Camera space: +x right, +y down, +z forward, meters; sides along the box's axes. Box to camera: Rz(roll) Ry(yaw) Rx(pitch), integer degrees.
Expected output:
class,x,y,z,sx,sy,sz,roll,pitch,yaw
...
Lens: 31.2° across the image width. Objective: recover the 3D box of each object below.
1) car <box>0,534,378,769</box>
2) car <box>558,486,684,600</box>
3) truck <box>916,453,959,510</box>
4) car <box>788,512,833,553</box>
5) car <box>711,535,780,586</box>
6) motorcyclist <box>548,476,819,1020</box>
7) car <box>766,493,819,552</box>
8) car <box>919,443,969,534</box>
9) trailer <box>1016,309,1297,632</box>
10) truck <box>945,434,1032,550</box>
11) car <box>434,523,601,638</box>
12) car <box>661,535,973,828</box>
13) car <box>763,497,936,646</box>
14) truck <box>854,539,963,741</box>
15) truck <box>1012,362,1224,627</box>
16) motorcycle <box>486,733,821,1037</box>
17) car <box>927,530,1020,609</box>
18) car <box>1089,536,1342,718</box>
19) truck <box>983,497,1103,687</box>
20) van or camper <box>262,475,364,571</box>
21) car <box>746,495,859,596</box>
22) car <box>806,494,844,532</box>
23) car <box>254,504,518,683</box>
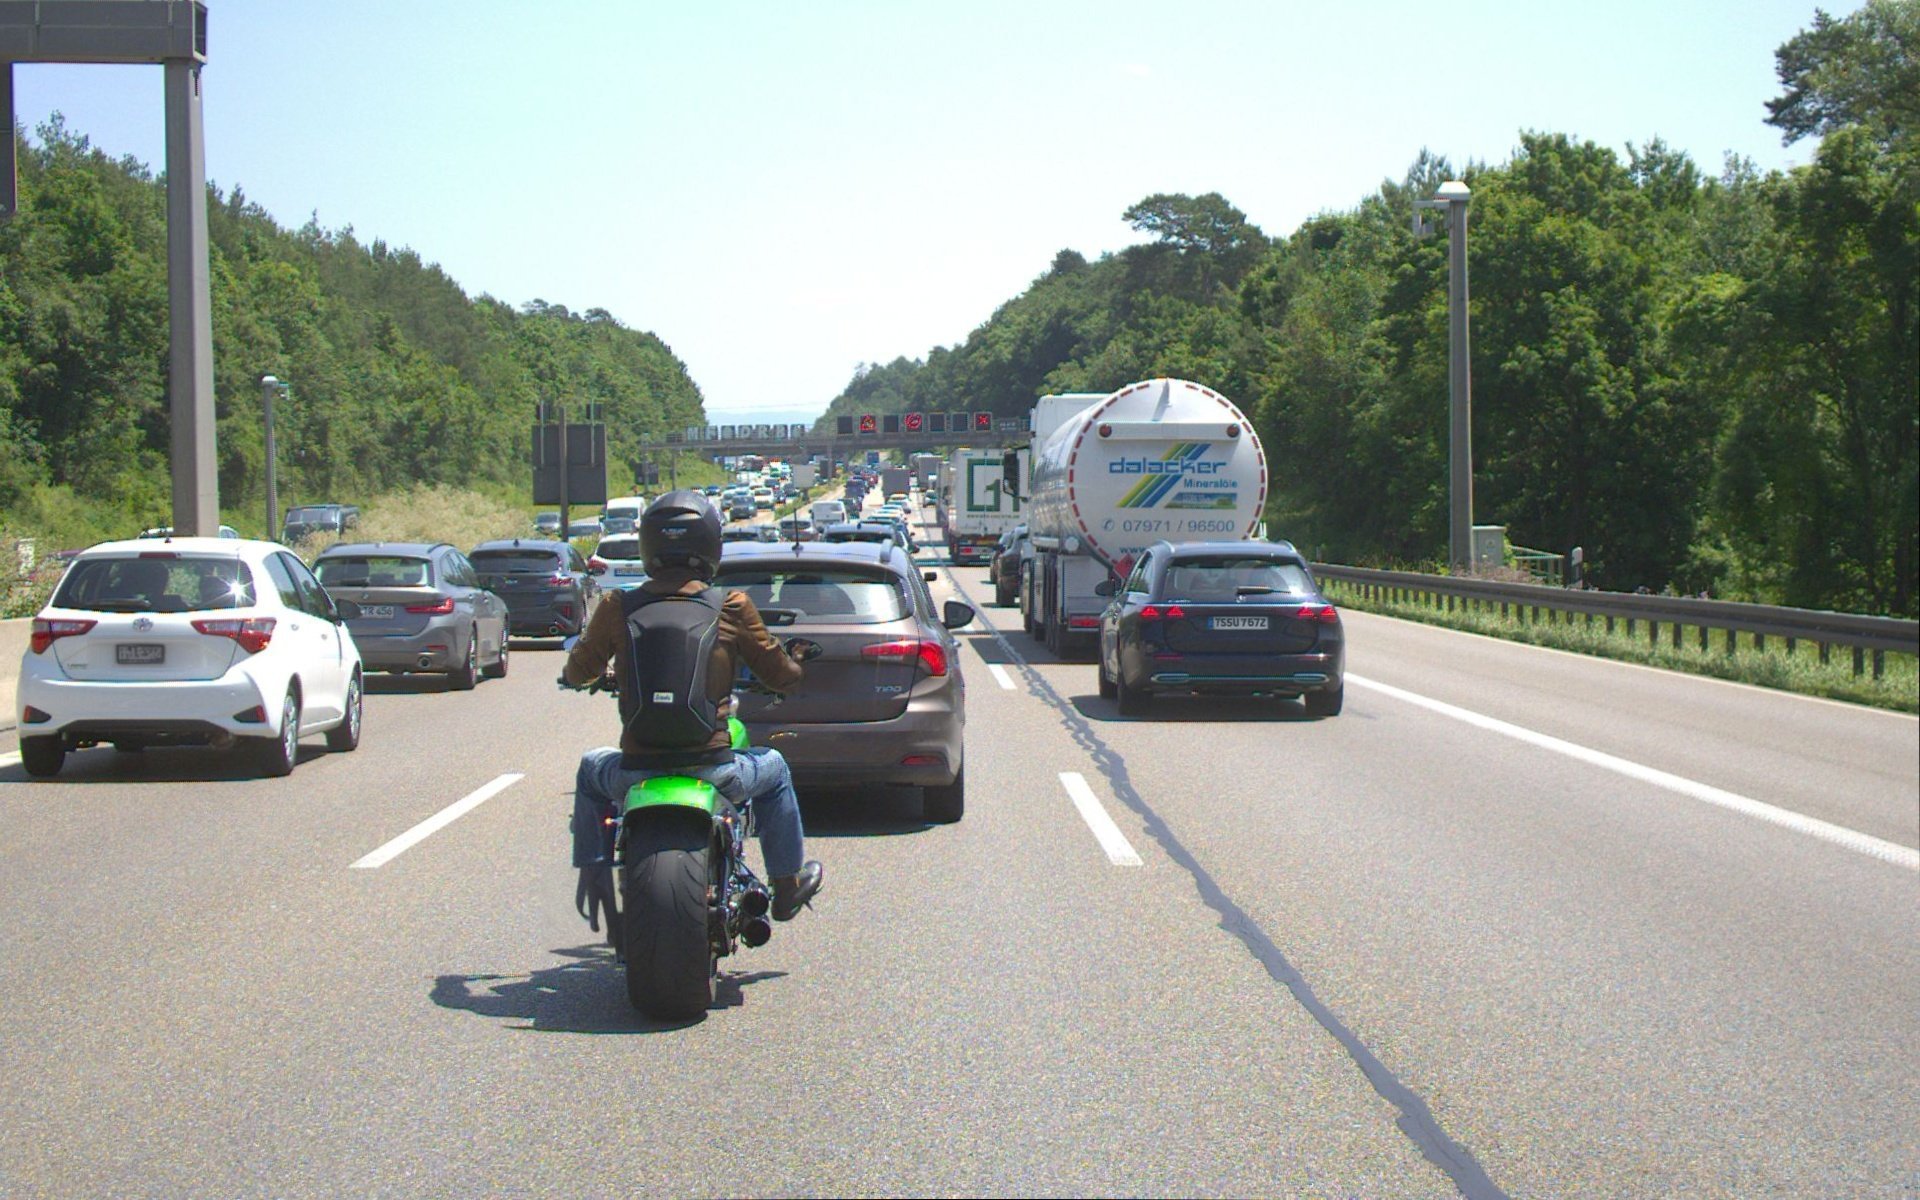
class,x,y,z,sx,sy,sz,roll,pitch,yaw
car,-5.053,0.313,22.752,1.776,1.406,4.000,0,0,-1
car,-6.175,-1.018,63.051,1.993,2.007,4.000,0,0,-1
truck,-1.483,-7.623,222.019,2.696,3.394,10.479,-1,1,-1
car,-5.979,-2.709,138.037,1.660,1.594,4.000,0,0,0
car,-6.144,-1.138,98.705,1.764,1.437,4.000,0,1,0
motorcyclist,-0.877,0.460,11.172,0.799,1.682,1.016,0,0,-1
car,-5.816,-2.679,119.548,1.660,1.971,4.000,0,0,0
car,-0.790,-5.075,159.080,2.167,3.879,9.330,0,0,-1
trailer,2.324,-1.469,44.506,2.828,3.658,10.733,0,0,-1
truck,1.041,-3.746,121.005,2.854,3.808,7.187,0,0,2
car,-5.906,-0.251,46.261,1.993,1.459,4.000,0,0,-4
car,-0.743,0.381,19.131,1.541,1.445,4.000,0,1,-1
car,-1.337,-0.328,41.824,1.993,1.705,4.000,0,0,-2
truck,-1.326,0.801,82.224,2.388,4.448,10.870,0,1,-2
truck,2.245,-1.461,51.062,2.828,3.658,6.429,0,0,0
motorcycle,-0.962,0.897,11.417,0.936,0.790,2.299,0,1,-1
car,0.235,-0.592,69.028,1.776,1.522,4.000,0,0,-1
car,2.148,0.221,30.059,1.792,1.453,4.624,0,0,-1
truck,1.981,-0.303,86.041,2.388,4.448,10.870,0,1,-2
van or camper,-20.442,-2.394,108.840,2.154,2.849,6.654,0,0,-2
car,-2.871,-0.972,63.429,1.993,1.769,4.000,0,0,-2
car,-7.439,-4.760,189.379,1.993,2.007,4.000,-1,1,-1
car,-5.717,-0.057,34.724,1.993,1.678,4.330,0,0,-1
